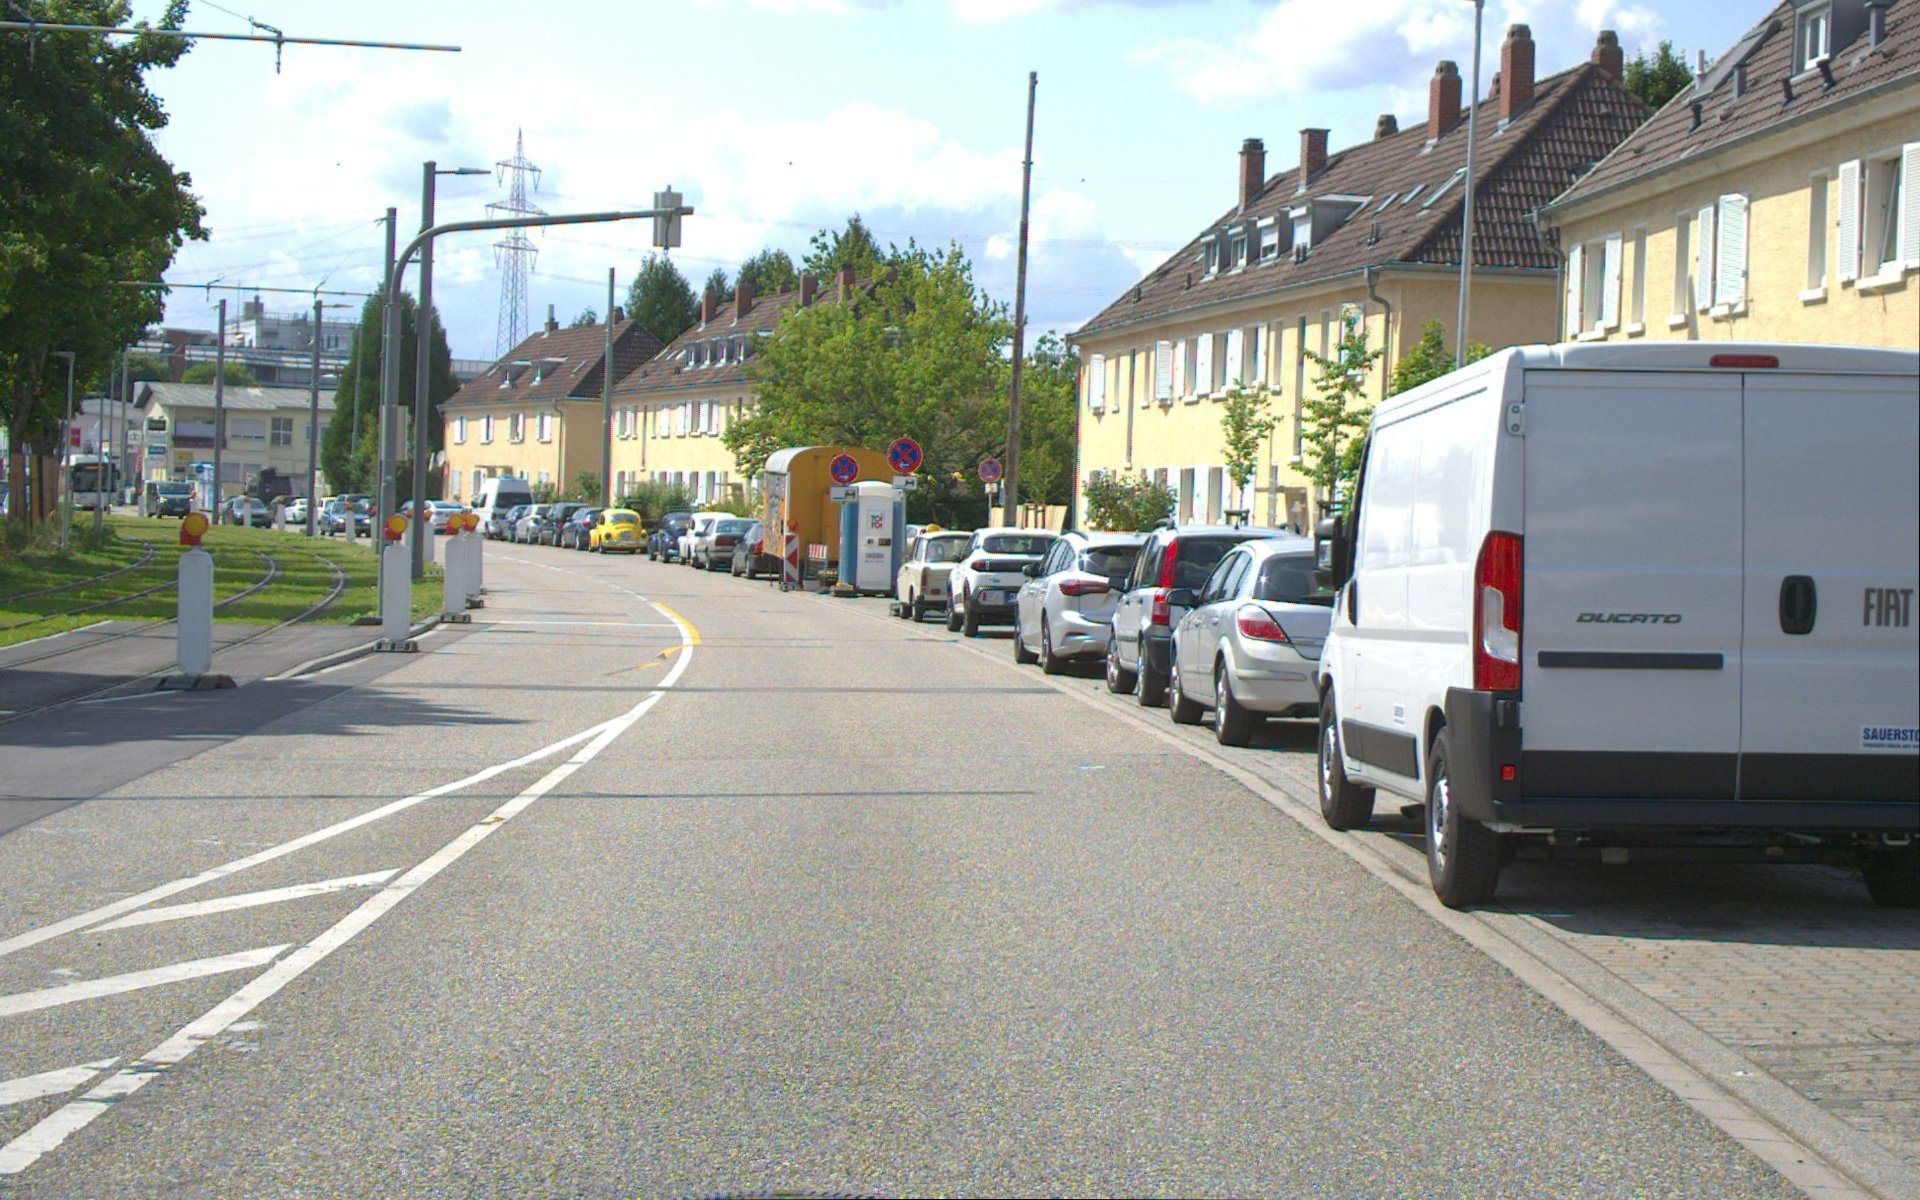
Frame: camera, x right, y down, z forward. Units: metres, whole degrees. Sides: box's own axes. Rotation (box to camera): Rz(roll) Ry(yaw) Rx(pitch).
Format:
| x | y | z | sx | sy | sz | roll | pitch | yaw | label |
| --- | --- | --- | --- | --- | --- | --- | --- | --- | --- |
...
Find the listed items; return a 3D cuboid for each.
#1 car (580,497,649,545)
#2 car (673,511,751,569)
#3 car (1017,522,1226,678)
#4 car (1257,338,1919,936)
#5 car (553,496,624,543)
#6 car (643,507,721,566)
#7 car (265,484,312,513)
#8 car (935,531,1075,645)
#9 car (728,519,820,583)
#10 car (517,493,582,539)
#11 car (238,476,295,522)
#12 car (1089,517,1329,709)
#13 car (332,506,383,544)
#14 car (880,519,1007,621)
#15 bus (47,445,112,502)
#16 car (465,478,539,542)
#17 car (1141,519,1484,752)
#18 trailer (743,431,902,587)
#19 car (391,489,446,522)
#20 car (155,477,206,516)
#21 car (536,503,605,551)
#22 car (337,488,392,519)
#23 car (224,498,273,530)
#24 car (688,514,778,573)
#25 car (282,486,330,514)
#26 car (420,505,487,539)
| x | y | z | sx | sy | sz | roll | pitch | yaw | label |
| --- | --- | --- | --- | --- | --- | --- | --- | --- | --- |
| -11.465 | -2.630 | 113.876 | 1.636 | 1.477 | 3.933 | -1 | 3 | -15 | car |
| -6.996 | -1.710 | 96.698 | 1.577 | 1.507 | 4.461 | 2 | 1 | -12 | car |
| 1.617 | -0.051 | 35.849 | 1.749 | 1.492 | 4.386 | 1 | 1 | -3 | car |
| 2.853 | 0.068 | 15.975 | 2.276 | 2.175 | 6.368 | 2 | 1 | -1 | car |
| -12.761 | -2.776 | 117.909 | 1.635 | 1.477 | 4.126 | 2 | 1 | -17 | car |
| -8.242 | -1.898 | 101.688 | 1.548 | 1.635 | 4.248 | 2 | 1 | -15 | car |
| -35.745 | -5.427 | 183.061 | 1.763 | 1.497 | 4.001 | 0 | 2 | -21 | car |
| 0.588 | -0.199 | 47.710 | 1.527 | 1.476 | 3.810 | 1 | 1 | -5 | car |
| -4.569 | -1.212 | 83.947 | 1.577 | 1.444 | 4.455 | 2 | 1 | -12 | car |
| -15.301 | -3.151 | 127.982 | 1.635 | 1.597 | 4.031 | 2 | 1 | -17 | car |
| -38.096 | -5.555 | 188.692 | 1.959 | 2.470 | 6.062 | 0 | 2 | -22 | car |
| 2.120 | 0.066 | 30.157 | 1.628 | 1.544 | 3.810 | 1 | 1 | -3 | car |
| -24.197 | -3.020 | 138.010 | 1.665 | 1.444 | 3.961 | -1 | 2 | -14 | car |
| -0.290 | -0.497 | 54.002 | 1.463 | 1.497 | 4.110 | 1 | 1 | -7 | car |
| -54.644 | -7.837 | 213.163 | 2.635 | 3.400 | 12.253 | 0 | 2 | -21 | bus |
| -18.362 | -3.633 | 137.648 | 1.929 | 2.472 | 5.520 | 1 | 2 | -18 | car |
| 2.465 | 0.191 | 25.044 | 1.707 | 1.499 | 4.256 | 2 | 1 | -4 | car |
| -3.075 | -1.999 | 75.573 | 2.689 | 3.215 | 5.083 | 2 | 1 | -10 | trailer |
| -24.406 | -4.277 | 154.907 | 1.620 | 1.412 | 4.001 | 0 | 2 | -21 | car |
| -41.034 | -5.444 | 180.833 | 1.955 | 1.959 | 5.295 | 1 | 2 | -20 | car |
| -14.080 | -2.648 | 124.138 | 1.635 | 1.597 | 3.933 | 2 | 1 | -19 | car |
| -28.269 | -4.595 | 163.144 | 1.763 | 1.412 | 4.001 | 0 | 2 | -21 | car |
| -33.376 | -4.051 | 161.211 | 1.724 | 1.384 | 4.123 | 2 | 1 | -19 | car |
| -6.074 | -1.517 | 91.686 | 1.706 | 1.444 | 4.837 | 2 | 1 | -12 | car |
| -33.917 | -5.198 | 178.217 | 1.763 | 1.434 | 4.001 | 0 | 2 | -21 | car |
| -22.129 | -3.422 | 150.107 | 1.798 | 1.453 | 4.767 | 0 | 1 | -22 | car |
